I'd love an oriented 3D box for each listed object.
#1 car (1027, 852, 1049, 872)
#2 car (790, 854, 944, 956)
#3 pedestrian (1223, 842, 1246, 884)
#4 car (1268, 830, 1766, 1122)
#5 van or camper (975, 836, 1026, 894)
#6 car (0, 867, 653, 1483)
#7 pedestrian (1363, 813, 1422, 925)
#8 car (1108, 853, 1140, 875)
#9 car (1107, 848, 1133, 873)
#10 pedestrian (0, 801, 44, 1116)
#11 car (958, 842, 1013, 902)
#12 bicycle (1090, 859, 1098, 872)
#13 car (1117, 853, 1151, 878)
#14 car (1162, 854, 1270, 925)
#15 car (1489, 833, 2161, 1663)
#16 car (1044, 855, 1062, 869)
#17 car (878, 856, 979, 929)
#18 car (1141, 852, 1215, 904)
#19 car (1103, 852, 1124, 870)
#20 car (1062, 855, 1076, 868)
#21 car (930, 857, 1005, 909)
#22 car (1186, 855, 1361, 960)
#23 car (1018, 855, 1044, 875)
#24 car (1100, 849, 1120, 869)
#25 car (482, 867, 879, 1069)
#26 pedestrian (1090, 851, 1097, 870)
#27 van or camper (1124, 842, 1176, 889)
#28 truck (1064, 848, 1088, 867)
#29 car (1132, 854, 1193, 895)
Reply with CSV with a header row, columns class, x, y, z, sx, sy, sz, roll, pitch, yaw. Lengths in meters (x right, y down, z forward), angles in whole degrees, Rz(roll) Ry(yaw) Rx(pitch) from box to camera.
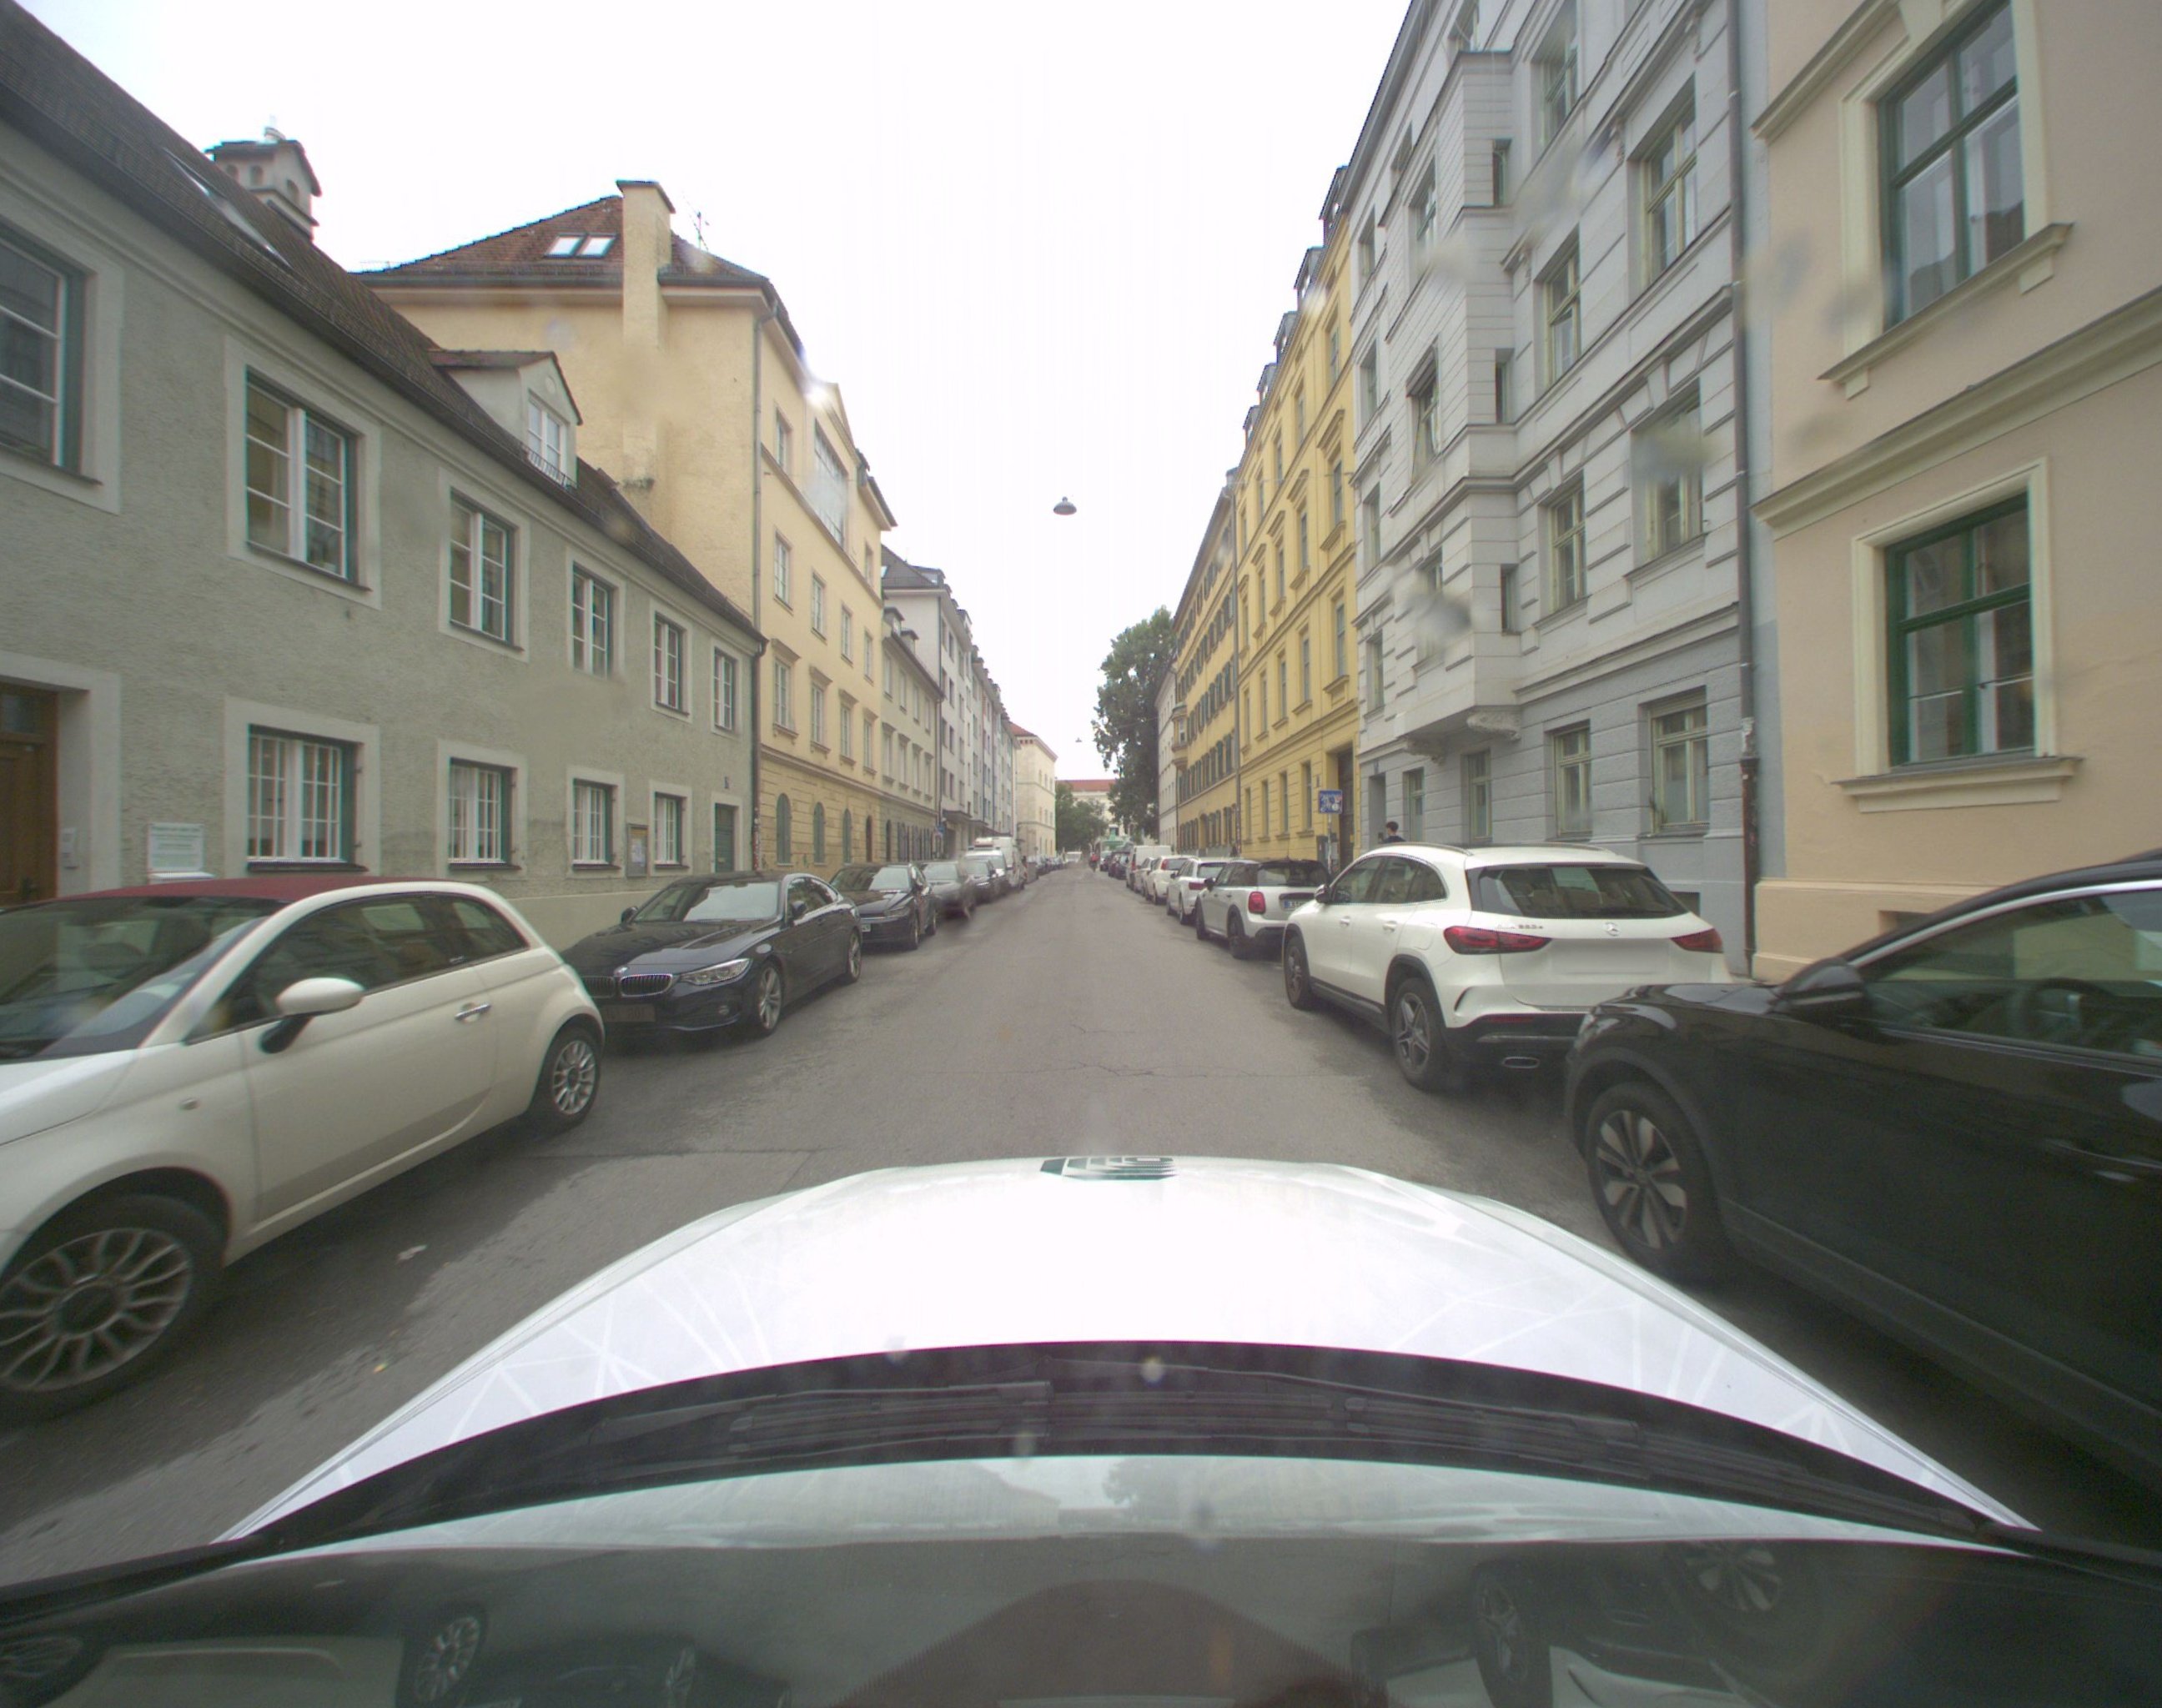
class,x,y,z,sx,sy,sz,roll,pitch,yaw
car,-3.613,0.673,68.958,1.701,1.609,3.861,-2,0,-1
car,-3.545,0.765,14.273,1.750,1.496,4.196,-1,0,-3
pedestrian,6.077,0.357,32.220,0.658,1.571,0.642,-4,-1,-1
car,2.924,0.680,6.733,1.737,1.583,4.466,-1,0,0
van or camper,-3.372,0.429,34.967,1.749,2.281,5.271,-1,0,-1
car,-3.638,0.829,3.519,1.751,1.475,3.710,0,0,-3
pedestrian,5.723,0.274,14.990,0.667,1.980,0.708,-4,-2,0
car,2.881,0.680,55.211,1.807,1.424,4.244,0,0,-2
car,2.955,0.491,62.212,1.805,1.797,4.247,0,0,1
pedestrian,-6.932,0.635,4.692,0.820,1.898,0.827,-1,-2,-1
car,-3.399,0.624,29.646,1.751,1.995,4.619,-1,0,-4
bicycle,1.137,1.042,73.183,0.673,1.095,1.760,-1,-1,1
car,3.214,0.706,50.307,1.806,1.465,4.245,0,0,0
car,2.952,0.721,18.749,1.702,1.408,4.814,-1,0,0
car,2.846,0.711,1.816,1.749,1.521,4.274,-1,0,0
car,-3.297,0.915,96.690,1.700,1.609,3.865,-2,0,2
car,-3.515,0.826,19.480,1.812,1.441,4.126,-2,0,-4
car,2.938,0.692,25.484,1.704,1.454,4.093,-1,0,-2
car,3.038,0.638,76.122,1.805,1.614,4.156,-1,0,1
car,-1.646,1.013,111.342,1.700,1.581,3.865,-2,0,3
car,-3.343,0.803,24.603,1.750,1.409,4.101,-1,0,-1
car,2.914,0.734,13.242,1.704,1.404,4.204,-1,0,-2
car,-3.850,0.810,63.505,1.812,1.444,3.817,-2,0,-1
car,2.917,0.538,81.997,1.845,1.919,4.769,-1,0,1
car,-3.534,0.875,8.361,1.793,1.339,4.683,-1,1,-1
pedestrian,1.123,0.573,73.207,0.640,1.714,0.843,-1,-1,1
van or camper,2.913,0.484,35.402,1.827,1.872,5.078,-1,0,0
truck,-0.606,0.480,104.306,2.109,2.247,6.198,-2,-1,8
car,2.924,0.704,30.040,1.704,1.392,4.203,-1,0,-2
